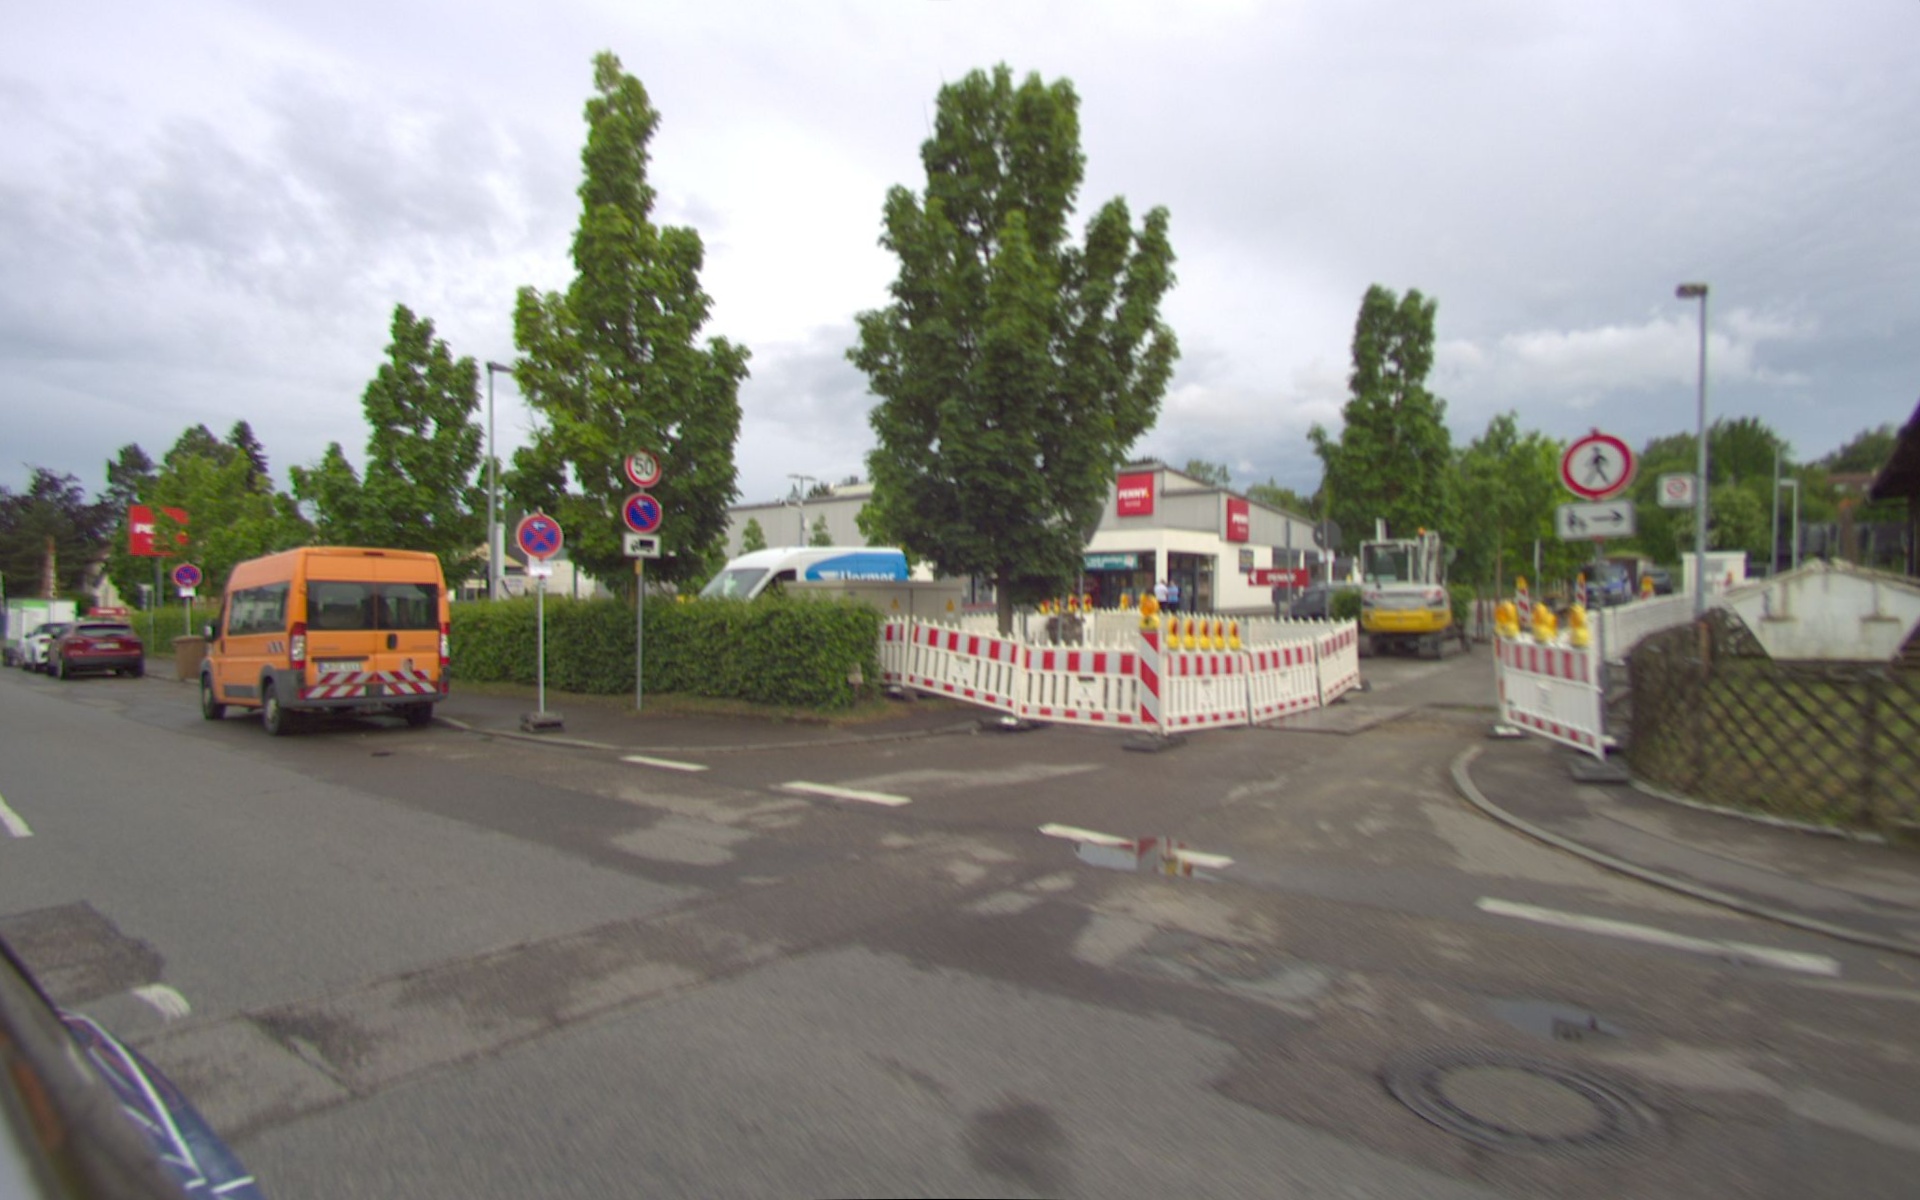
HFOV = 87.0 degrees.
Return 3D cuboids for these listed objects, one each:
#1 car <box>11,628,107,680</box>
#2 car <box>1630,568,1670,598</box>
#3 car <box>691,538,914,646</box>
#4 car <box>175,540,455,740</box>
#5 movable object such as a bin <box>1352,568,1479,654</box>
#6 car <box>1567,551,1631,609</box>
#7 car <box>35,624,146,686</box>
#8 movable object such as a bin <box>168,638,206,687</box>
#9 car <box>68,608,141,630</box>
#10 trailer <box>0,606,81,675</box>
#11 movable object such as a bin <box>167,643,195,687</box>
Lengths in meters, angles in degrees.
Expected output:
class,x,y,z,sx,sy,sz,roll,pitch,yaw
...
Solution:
class,x,y,z,sx,sy,sz,roll,pitch,yaw
car,-28.642,1.669,32.127,4.134,1.510,1.754,-2,-1,41
car,43.853,-1.102,64.294,1.971,1.786,4.185,0,1,36
car,-3.193,-0.200,21.155,2.062,2.029,4.261,0,1,41
car,-10.171,0.551,15.695,6.019,2.557,2.102,-1,-1,42
movable object such as a bin,10.256,0.192,22.668,1.995,1.773,3.393,-1,1,35
car,26.861,-0.843,42.486,1.971,2.256,5.180,-1,1,36
car,-24.775,1.501,28.789,4.340,1.585,1.786,-1,-1,41
movable object such as a bin,-19.615,1.568,25.688,0.664,1.166,0.622,-2,1,-44
car,-79.260,1.739,93.784,2.000,1.871,4.944,0,1,43
trailer,-33.221,1.418,36.342,4.727,2.331,1.794,-1,-3,41
movable object such as a bin,-20.111,1.666,26.138,0.485,1.090,0.621,-2,1,-44
